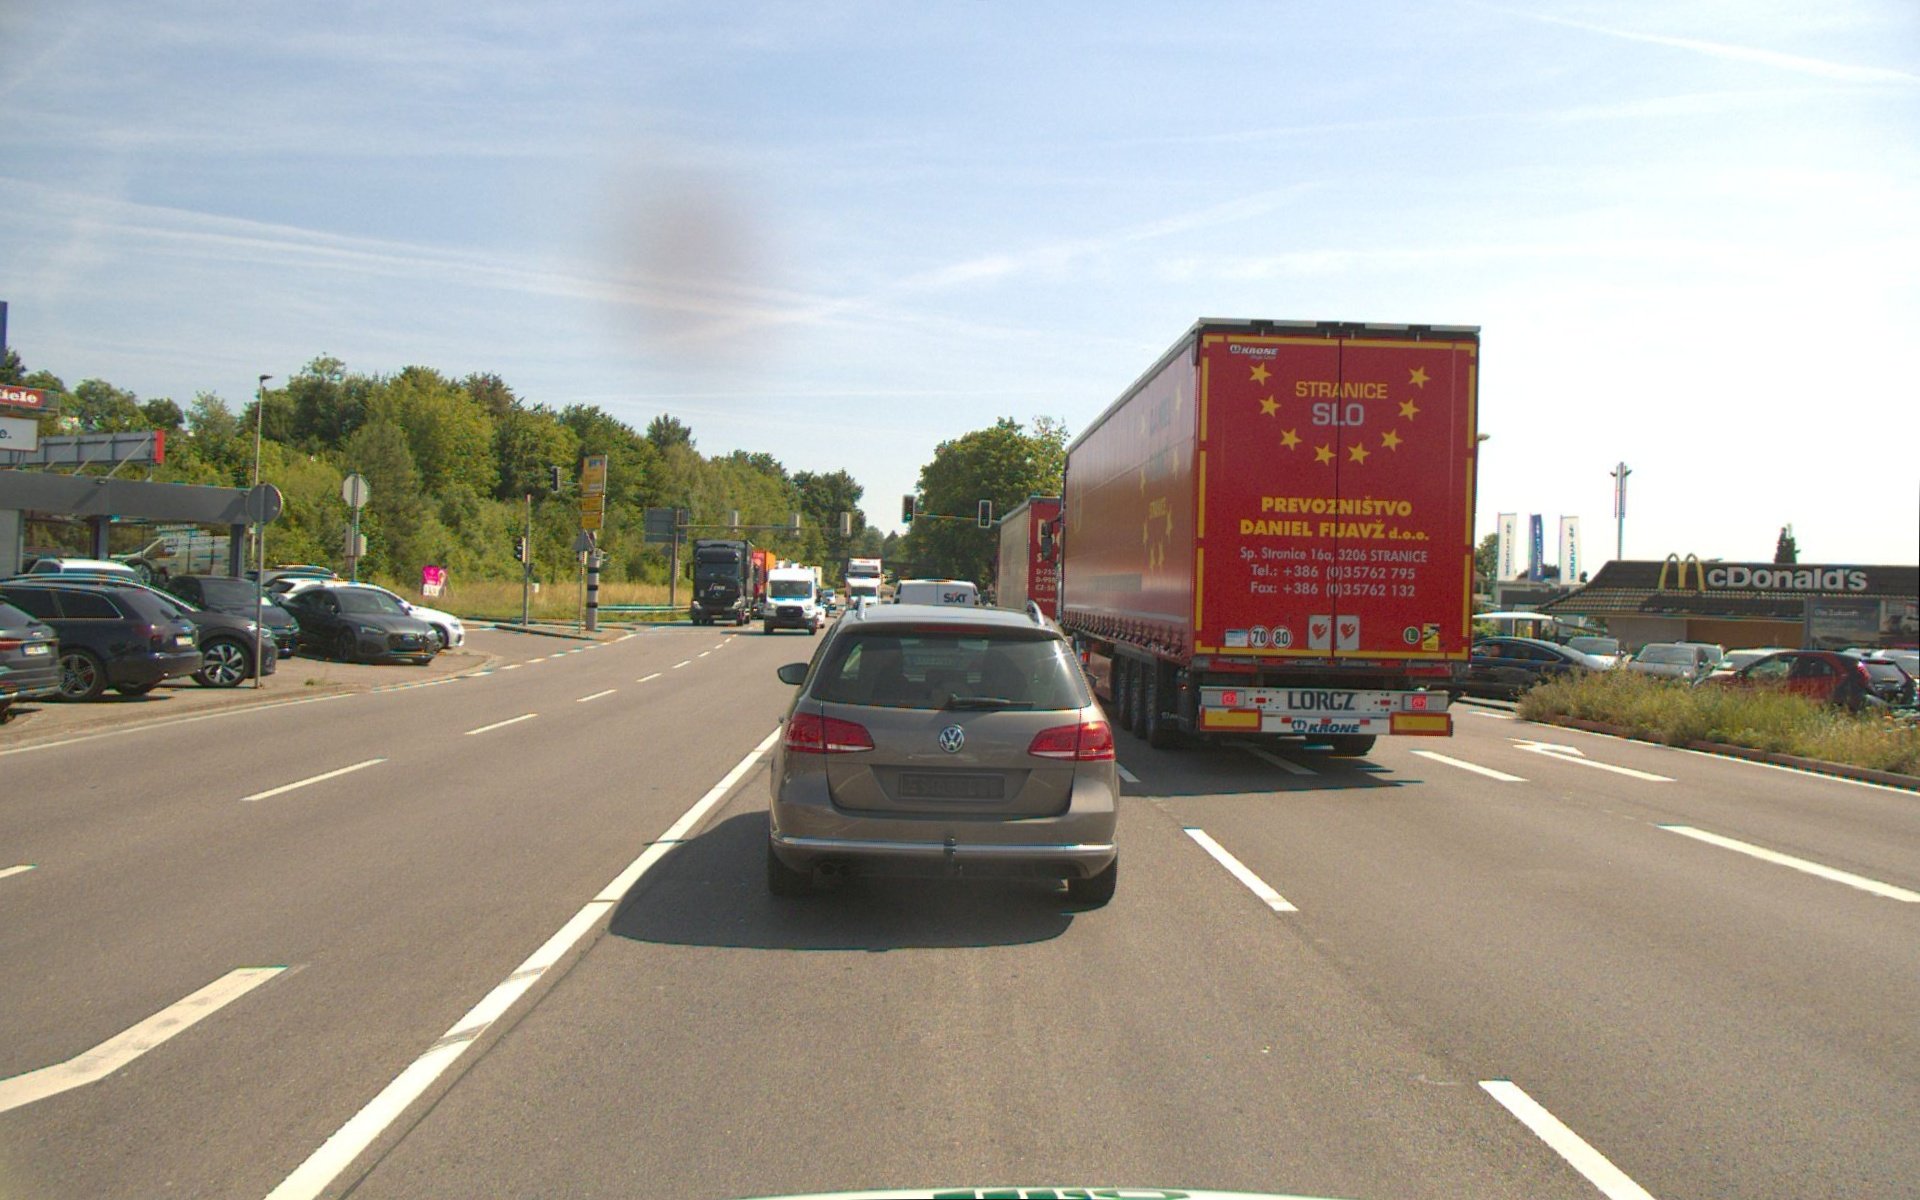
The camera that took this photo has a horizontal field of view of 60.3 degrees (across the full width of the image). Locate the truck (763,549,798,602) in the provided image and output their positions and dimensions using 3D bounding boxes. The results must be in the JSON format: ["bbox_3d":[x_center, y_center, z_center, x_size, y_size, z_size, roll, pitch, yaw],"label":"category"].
[{"bbox_3d":[-13.507,-1.818,124.832,2.484,3.852,6.982,-1,0,-5],"label":"truck"}]

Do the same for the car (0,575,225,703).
[{"bbox_3d":[-11.823,0.477,21.439,3.740,1.566,1.842,0,0,-2],"label":"car"}]

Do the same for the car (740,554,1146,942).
[{"bbox_3d":[-0.016,0.643,8.917,1.753,1.667,3.504,0,0,2],"label":"car"}]

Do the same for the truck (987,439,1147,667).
[{"bbox_3d":[2.665,-1.122,47.538,3.000,5.312,17.002,1,0,-1],"label":"truck"}]

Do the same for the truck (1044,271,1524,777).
[{"bbox_3d":[3.257,-0.678,22.712,2.897,4.344,16.579,1,0,-1],"label":"truck"}]

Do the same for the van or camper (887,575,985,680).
[{"bbox_3d":[-0.511,0.516,33.159,1.815,1.939,3.783,1,0,-2],"label":"van or camper"}]

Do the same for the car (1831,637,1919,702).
[{"bbox_3d":[24.097,1.762,43.098,1.657,1.558,3.575,2,0,42],"label":"car"}]

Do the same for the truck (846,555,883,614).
[{"bbox_3d":[-7.275,-1.159,126.621,2.501,4.383,7.593,0,0,-1],"label":"truck"}]

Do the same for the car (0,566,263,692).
[{"bbox_3d":[-12.185,0.396,23.527,3.740,1.704,1.842,0,0,-2],"label":"car"}]

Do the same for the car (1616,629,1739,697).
[{"bbox_3d":[17.809,1.530,41.002,1.738,1.558,3.607,2,0,42],"label":"car"}]

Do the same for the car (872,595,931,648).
[{"bbox_3d":[-1.782,0.655,51.239,1.692,1.545,3.311,1,-1,-1],"label":"car"}]

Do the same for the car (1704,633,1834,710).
[{"bbox_3d":[17.966,1.545,36.681,1.657,1.558,3.575,2,0,42],"label":"car"}]

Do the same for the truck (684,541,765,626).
[{"bbox_3d":[-11.118,-0.782,78.639,2.755,3.852,6.990,-1,0,0],"label":"truck"}]

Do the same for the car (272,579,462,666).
[{"bbox_3d":[-12.587,0.433,34.963,2.116,1.723,4.454,1,0,-45],"label":"car"}]

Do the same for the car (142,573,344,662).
[{"bbox_3d":[-14.537,0.327,33.513,3.743,1.723,1.840,0,0,28],"label":"car"}]

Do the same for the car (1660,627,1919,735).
[{"bbox_3d":[14.133,1.305,27.840,1.972,1.558,3.960,2,0,-30],"label":"car"}]

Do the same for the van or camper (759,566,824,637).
[{"bbox_3d":[-6.434,0.055,63.682,2.129,2.596,4.169,1,0,-2],"label":"van or camper"}]

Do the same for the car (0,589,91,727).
[{"bbox_3d":[-12.139,0.604,18.588,3.740,1.473,1.842,0,0,-2],"label":"car"}]

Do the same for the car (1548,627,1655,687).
[{"bbox_3d":[17.950,1.579,46.233,1.734,1.558,3.245,2,0,42],"label":"car"}]

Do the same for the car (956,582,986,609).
[{"bbox_3d":[0.649,-0.246,102.194,1.692,1.545,3.311,2,-1,-2],"label":"car"}]

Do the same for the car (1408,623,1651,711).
[{"bbox_3d":[11.106,1.267,32.413,4.125,1.480,1.836,2,0,41],"label":"car"}]

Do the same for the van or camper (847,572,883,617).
[{"bbox_3d":[-6.417,-0.335,111.814,2.179,2.890,5.709,1,-1,-1],"label":"van or camper"}]
